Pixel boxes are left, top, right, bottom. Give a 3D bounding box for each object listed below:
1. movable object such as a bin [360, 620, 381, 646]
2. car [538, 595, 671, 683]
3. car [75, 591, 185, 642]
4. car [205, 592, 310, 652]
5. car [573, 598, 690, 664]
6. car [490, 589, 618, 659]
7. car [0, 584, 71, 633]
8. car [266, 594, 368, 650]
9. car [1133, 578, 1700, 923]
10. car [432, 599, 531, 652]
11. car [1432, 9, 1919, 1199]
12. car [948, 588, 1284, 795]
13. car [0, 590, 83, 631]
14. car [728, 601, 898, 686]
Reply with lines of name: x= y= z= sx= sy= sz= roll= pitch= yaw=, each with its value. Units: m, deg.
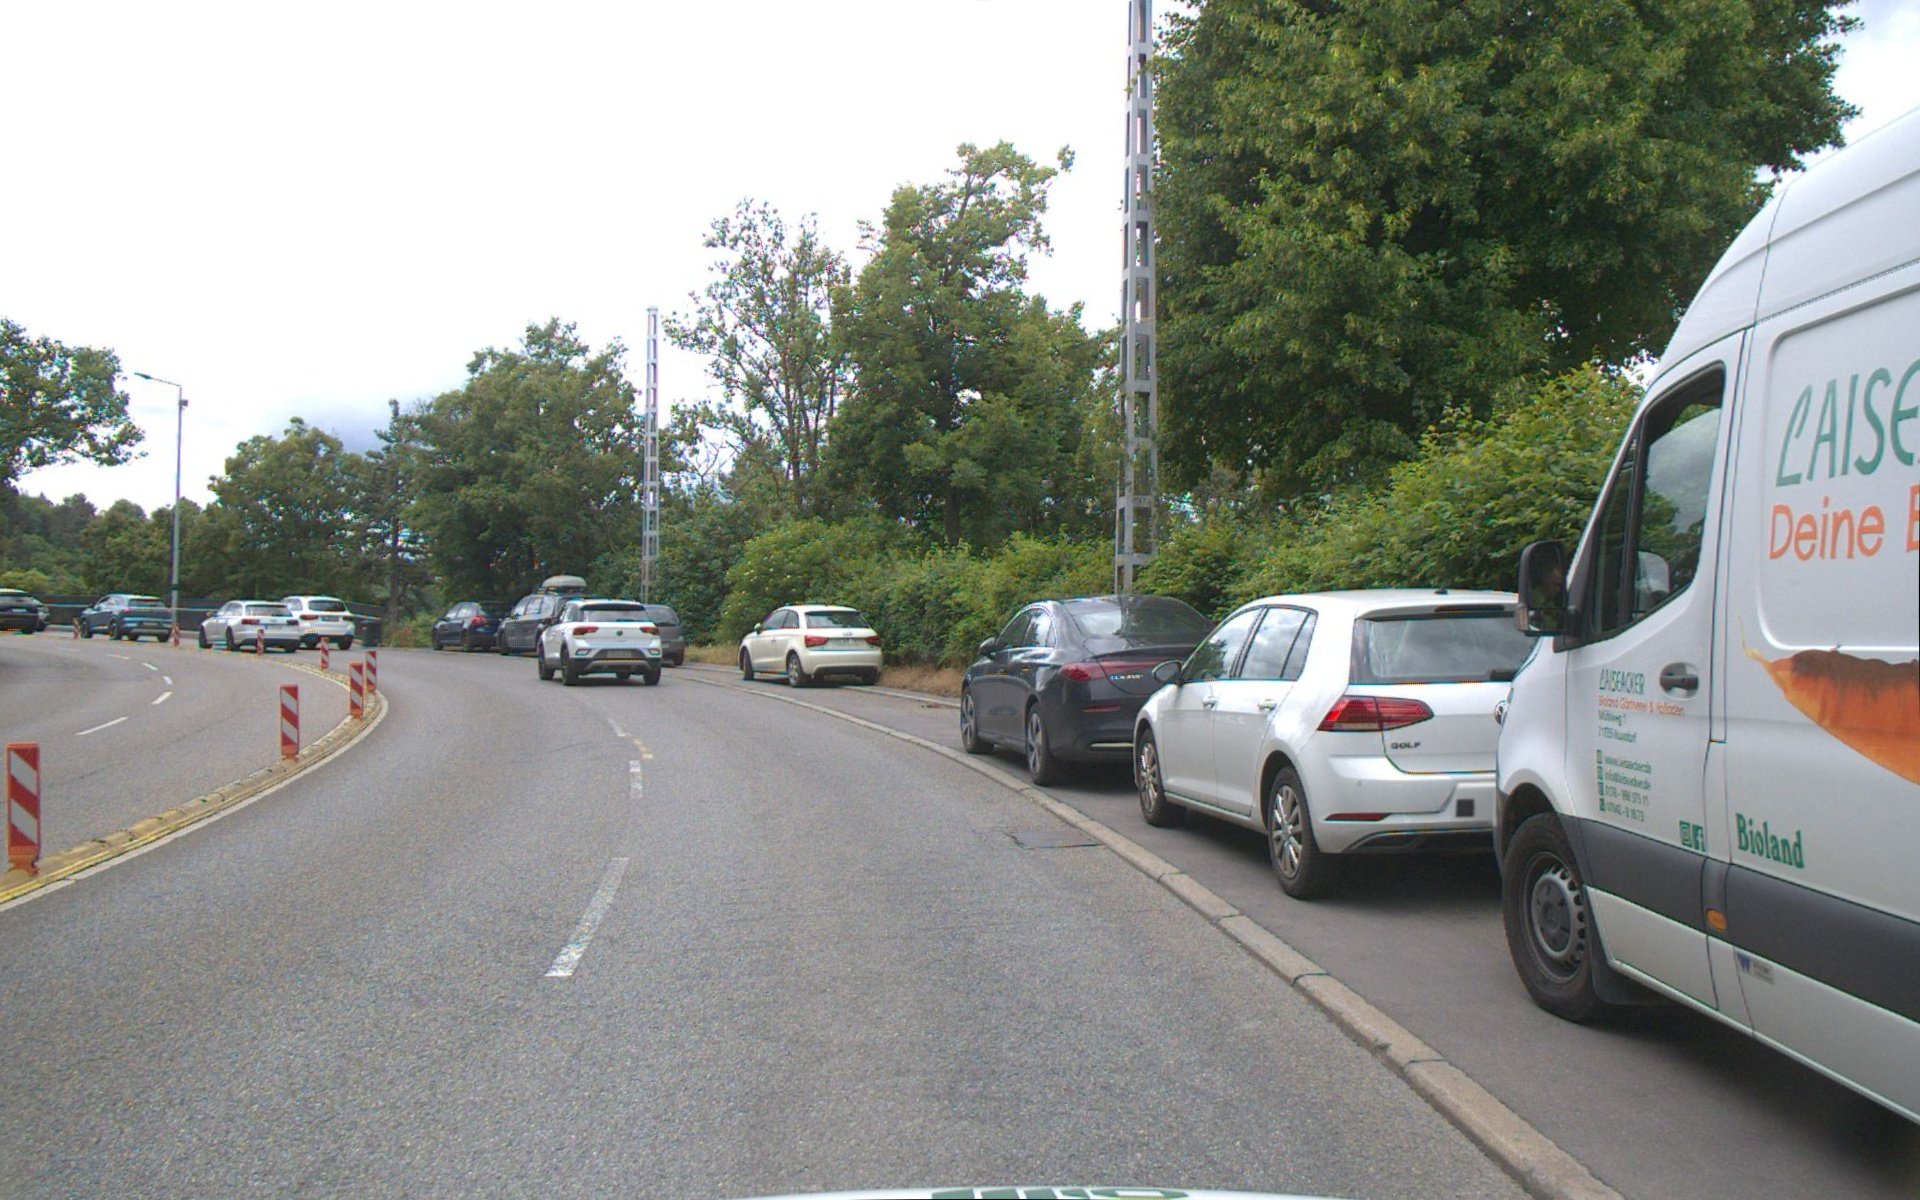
movable object such as a bin: x=-21.227 y=1.194 z=59.569 sx=0.523 sy=0.896 sz=0.518 roll=1 pitch=-3 yaw=43
car: x=-6.813 y=0.699 z=31.455 sx=1.841 sy=1.563 sz=3.777 roll=0 pitch=0 yaw=-23
car: x=-28.302 y=0.540 z=56.343 sx=3.939 sy=1.568 sz=1.988 roll=1 pitch=-2 yaw=42
car: x=-20.517 y=0.612 z=48.228 sx=1.892 sy=1.601 sz=3.948 roll=4 pitch=-2 yaw=-36
car: x=-8.062 y=0.742 z=40.352 sx=1.623 sy=1.490 sz=3.961 roll=2 pitch=-1 yaw=-29
car: x=-11.181 y=0.638 z=45.327 sx=1.784 sy=1.803 sz=4.548 roll=2 pitch=-1 yaw=-36
car: x=-36.157 y=0.307 z=63.786 sx=3.923 sy=1.719 sz=1.813 roll=1 pitch=-2 yaw=38
car: x=-20.527 y=0.689 z=52.714 sx=1.979 sy=1.614 sz=3.947 roll=4 pitch=-2 yaw=-37
car: x=2.242 y=0.664 z=9.222 sx=1.669 sy=1.490 sz=3.828 roll=0 pitch=0 yaw=-8
car: x=-14.490 y=0.750 z=49.947 sx=1.646 sy=1.513 sz=3.984 roll=2 pitch=-1 yaw=-35
car: x=2.989 y=0.059 z=3.763 sx=2.042 sy=2.567 sz=5.843 roll=-2 pitch=0 yaw=-1
car: x=1.141 y=0.660 z=14.395 sx=1.670 sy=1.489 sz=4.651 roll=0 pitch=0 yaw=-11
car: x=-38.548 y=0.414 z=68.643 sx=3.449 sy=1.552 sz=1.701 roll=2 pitch=-2 yaw=14
car: x=-2.811 y=0.761 z=30.836 sx=1.757 sy=1.443 sz=3.963 roll=-1 pitch=0 yaw=-28
